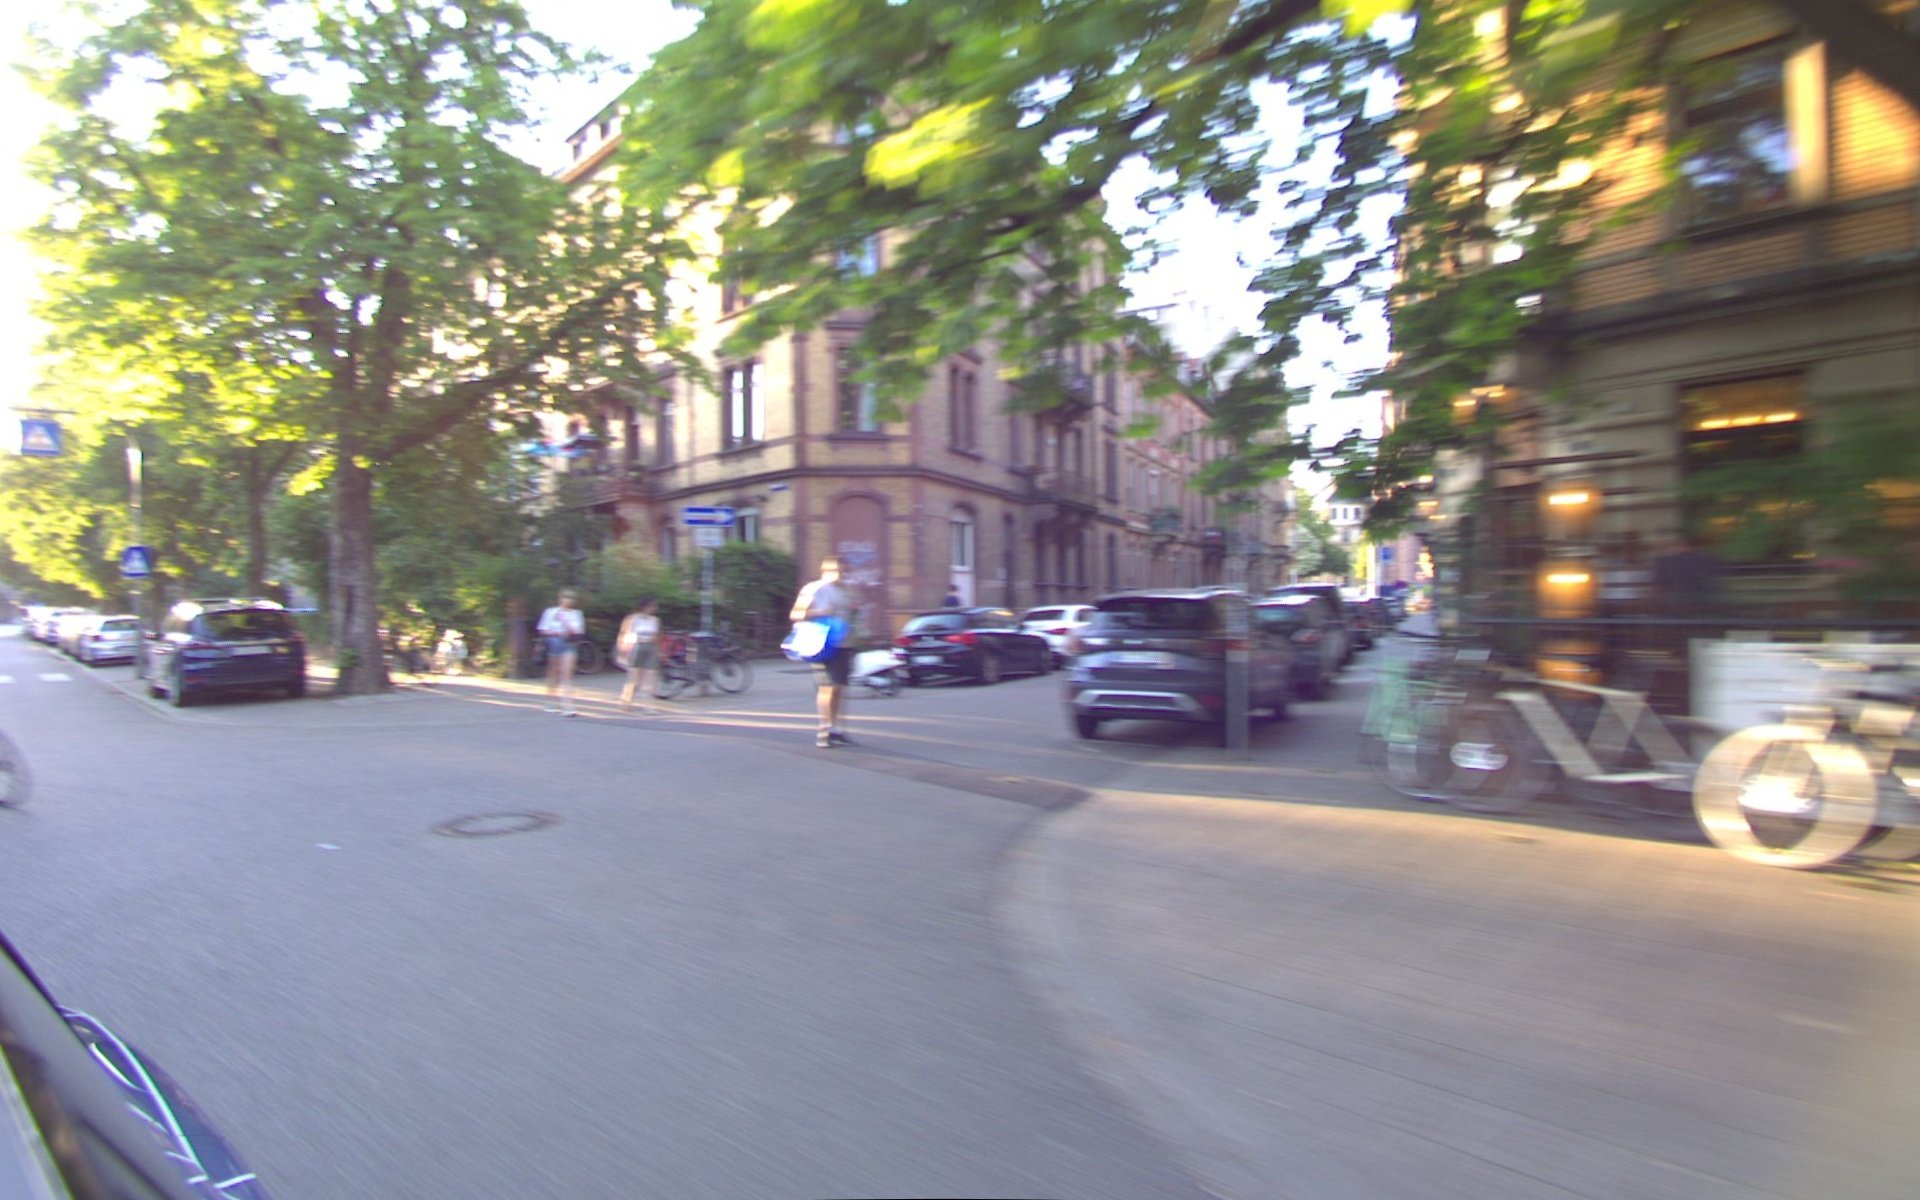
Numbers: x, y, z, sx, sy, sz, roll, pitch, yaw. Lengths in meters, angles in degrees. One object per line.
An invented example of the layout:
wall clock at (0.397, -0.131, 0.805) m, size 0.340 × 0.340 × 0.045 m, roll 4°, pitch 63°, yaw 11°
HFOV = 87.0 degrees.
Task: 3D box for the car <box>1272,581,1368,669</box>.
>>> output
car at (8.324, 0.561, 23.232) m, size 1.679 × 1.837 × 3.458 m, roll -2°, pitch -2°, yaw 25°

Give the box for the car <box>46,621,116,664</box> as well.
car at (-32.970, 1.556, 37.937) m, size 4.312 × 1.452 × 1.595 m, roll -2°, pitch 0°, yaw 44°

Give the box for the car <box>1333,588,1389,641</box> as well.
car at (15.019, 0.556, 37.795) m, size 1.679 × 1.837 × 3.458 m, roll -2°, pitch -2°, yaw 25°

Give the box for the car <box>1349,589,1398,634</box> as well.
car at (17.789, 0.507, 43.465) m, size 1.679 × 1.837 × 3.458 m, roll -2°, pitch -2°, yaw 25°

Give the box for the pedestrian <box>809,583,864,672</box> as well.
pedestrian at (-2.678, 0.574, 22.038) m, size 0.779 × 1.837 × 0.914 m, roll 2°, pitch 3°, yaw 35°

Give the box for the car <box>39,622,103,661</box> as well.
car at (-36.347, 1.677, 41.339) m, size 4.106 × 1.452 × 1.595 m, roll -2°, pitch 0°, yaw 44°

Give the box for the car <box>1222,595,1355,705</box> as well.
car at (5.093, 0.689, 15.451) m, size 1.459 × 1.469 × 3.304 m, roll -2°, pitch -1°, yaw 26°

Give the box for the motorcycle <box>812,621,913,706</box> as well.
motorcycle at (-1.574, 0.989, 16.044) m, size 1.861 × 1.266 × 0.466 m, roll -3°, pitch -2°, yaw 44°

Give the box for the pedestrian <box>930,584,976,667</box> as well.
pedestrian at (-0.157, 0.571, 23.202) m, size 0.781 × 1.837 × 0.688 m, roll -2°, pitch 3°, yaw -42°

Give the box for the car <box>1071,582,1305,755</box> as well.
car at (2.675, 0.666, 11.190) m, size 1.625 × 1.557 × 3.823 m, roll -2°, pitch -2°, yaw 26°

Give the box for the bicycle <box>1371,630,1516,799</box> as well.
bicycle at (3.584, 0.791, 7.645) m, size 0.388 × 1.107 × 1.824 m, roll -2°, pitch -1°, yaw 7°

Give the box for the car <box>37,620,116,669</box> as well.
car at (-29.289, 1.458, 33.507) m, size 4.312 × 1.452 × 1.595 m, roll -2°, pitch 0°, yaw 44°

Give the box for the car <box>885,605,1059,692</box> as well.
car at (0.351, 0.876, 19.267) m, size 1.777 × 1.470 × 3.983 m, roll -2°, pitch -2°, yaw 26°

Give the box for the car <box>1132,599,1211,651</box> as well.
car at (6.957, 0.805, 33.070) m, size 1.570 × 1.584 × 4.083 m, roll -2°, pitch -2°, yaw 25°

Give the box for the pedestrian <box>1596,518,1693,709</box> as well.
pedestrian at (5.399, 0.110, 8.002) m, size 0.459 × 1.462 × 0.427 m, roll -2°, pitch -2°, yaw 15°

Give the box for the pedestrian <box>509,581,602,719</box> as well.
pedestrian at (-5.599, 0.681, 14.026) m, size 1.002 × 1.849 × 0.683 m, roll -1°, pitch -1°, yaw 20°

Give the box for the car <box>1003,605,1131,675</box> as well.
car at (2.592, 0.890, 23.631) m, size 1.570 × 1.470 × 4.386 m, roll -2°, pitch -2°, yaw 25°

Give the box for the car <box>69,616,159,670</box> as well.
car at (-25.592, 1.282, 30.582) m, size 3.754 × 1.452 × 1.595 m, roll -2°, pitch 1°, yaw 43°

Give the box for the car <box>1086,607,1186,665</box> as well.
car at (4.951, 0.958, 28.063) m, size 1.570 × 1.470 × 4.386 m, roll -2°, pitch -2°, yaw 25°

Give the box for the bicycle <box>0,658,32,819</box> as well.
bicycle at (-7.236, 0.921, 6.758) m, size 1.886 × 1.041 × 0.537 m, roll 0°, pitch 0°, yaw 12°

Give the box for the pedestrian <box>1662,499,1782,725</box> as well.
pedestrian at (5.123, 0.085, 6.826) m, size 0.459 × 1.462 × 0.427 m, roll -2°, pitch -2°, yaw 15°

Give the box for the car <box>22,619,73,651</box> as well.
car at (-45.568, 1.741, 50.507) m, size 4.106 × 1.452 × 1.595 m, roll -2°, pitch 0°, yaw 44°

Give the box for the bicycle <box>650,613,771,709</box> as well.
bicycle at (-3.912, 0.922, 15.949) m, size 1.770 × 1.403 × 0.519 m, roll -1°, pitch 1°, yaw -34°

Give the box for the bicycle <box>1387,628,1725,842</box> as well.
bicycle at (3.603, 0.759, 6.277) m, size 0.386 × 1.152 × 1.749 m, roll 1°, pitch -2°, yaw -40°

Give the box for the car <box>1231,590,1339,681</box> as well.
car at (6.399, 0.670, 19.743) m, size 1.460 × 1.606 × 3.303 m, roll -2°, pitch -2°, yaw 27°

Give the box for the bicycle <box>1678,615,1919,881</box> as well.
bicycle at (4.581, 0.681, 4.707) m, size 0.386 × 1.194 × 1.960 m, roll -4°, pitch 2°, yaw -40°

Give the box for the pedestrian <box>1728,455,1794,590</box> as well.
pedestrian at (8.850, -0.833, 11.197) m, size 0.462 × 1.423 × 0.519 m, roll -3°, pitch -2°, yaw 32°

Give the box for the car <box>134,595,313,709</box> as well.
car at (-12.977, 0.849, 17.713) m, size 1.845 × 1.700 × 4.594 m, roll -2°, pitch 0°, yaw -45°

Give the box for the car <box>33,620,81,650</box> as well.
car at (-48.547, 1.880, 54.406) m, size 4.106 × 1.452 × 1.595 m, roll -2°, pitch 0°, yaw 44°

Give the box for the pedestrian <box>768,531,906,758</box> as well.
pedestrian at (-1.168, 0.405, 9.675) m, size 1.004 × 2.029 × 0.861 m, roll -1°, pitch -1°, yaw 26°

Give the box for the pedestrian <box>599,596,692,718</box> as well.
pedestrian at (-4.358, 0.774, 14.051) m, size 1.045 × 1.643 × 0.683 m, roll -1°, pitch -1°, yaw 20°
